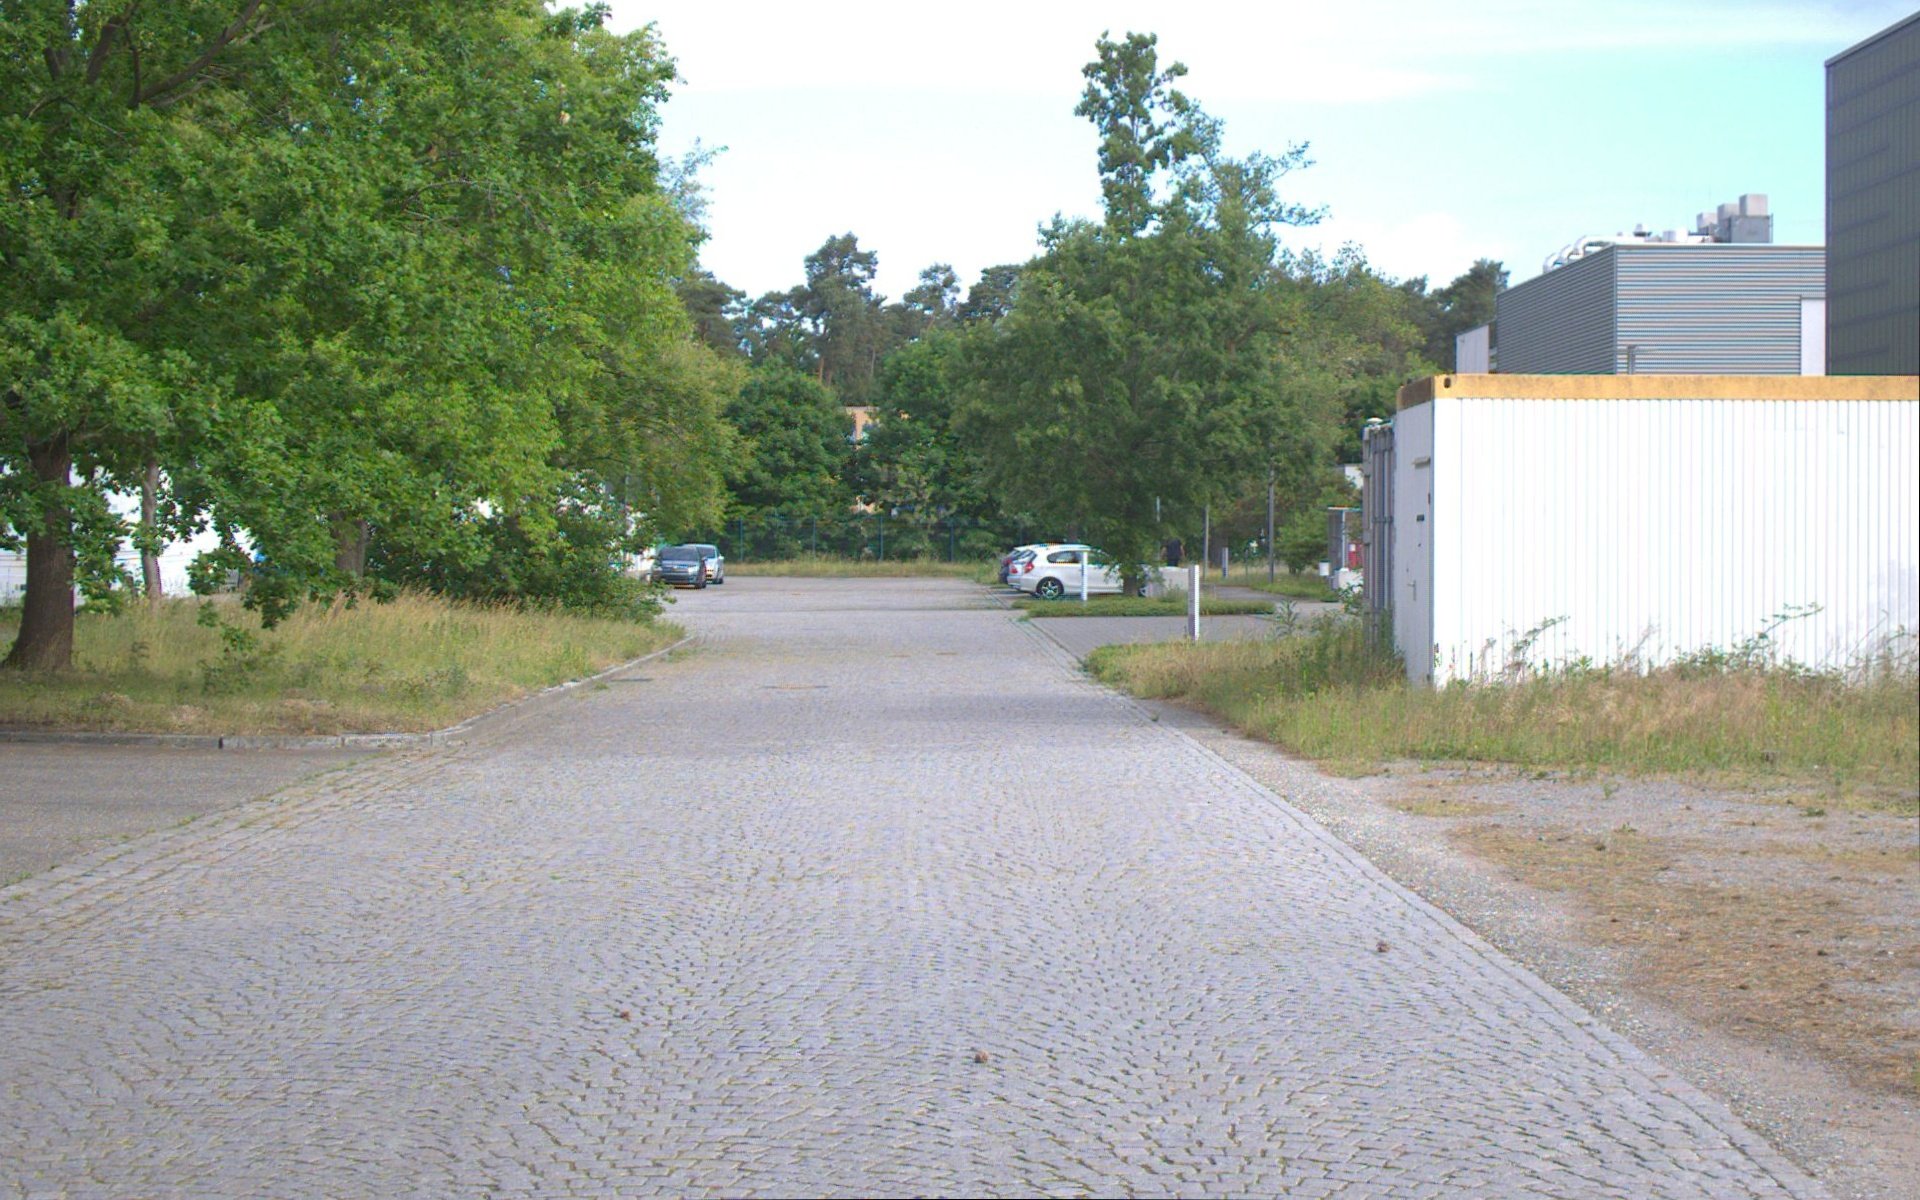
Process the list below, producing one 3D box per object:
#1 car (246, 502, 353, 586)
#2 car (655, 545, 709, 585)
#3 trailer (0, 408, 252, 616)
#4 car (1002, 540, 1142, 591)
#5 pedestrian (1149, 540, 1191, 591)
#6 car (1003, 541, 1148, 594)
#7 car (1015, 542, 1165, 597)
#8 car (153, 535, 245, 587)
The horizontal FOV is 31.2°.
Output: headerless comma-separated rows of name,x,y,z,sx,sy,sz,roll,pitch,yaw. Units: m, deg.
car,-20.322,-1.726,106.071,1.994,2.515,5.617,0,1,2
car,-9.510,-1.217,117.770,1.748,1.359,4.001,0,1,-3
trailer,-16.261,-1.644,66.452,2.657,3.693,10.721,0,1,1
car,3.211,-1.013,99.109,3.987,1.450,1.770,0,1,0
pedestrian,6.508,-1.085,106.739,0.939,1.563,0.971,0,1,-27
car,3.205,-0.920,96.069,3.987,1.450,1.697,0,1,0
car,3.538,-0.833,93.904,3.987,1.450,2.000,1,0,0
car,-23.164,-1.196,104.778,1.900,1.569,4.000,0,1,1
